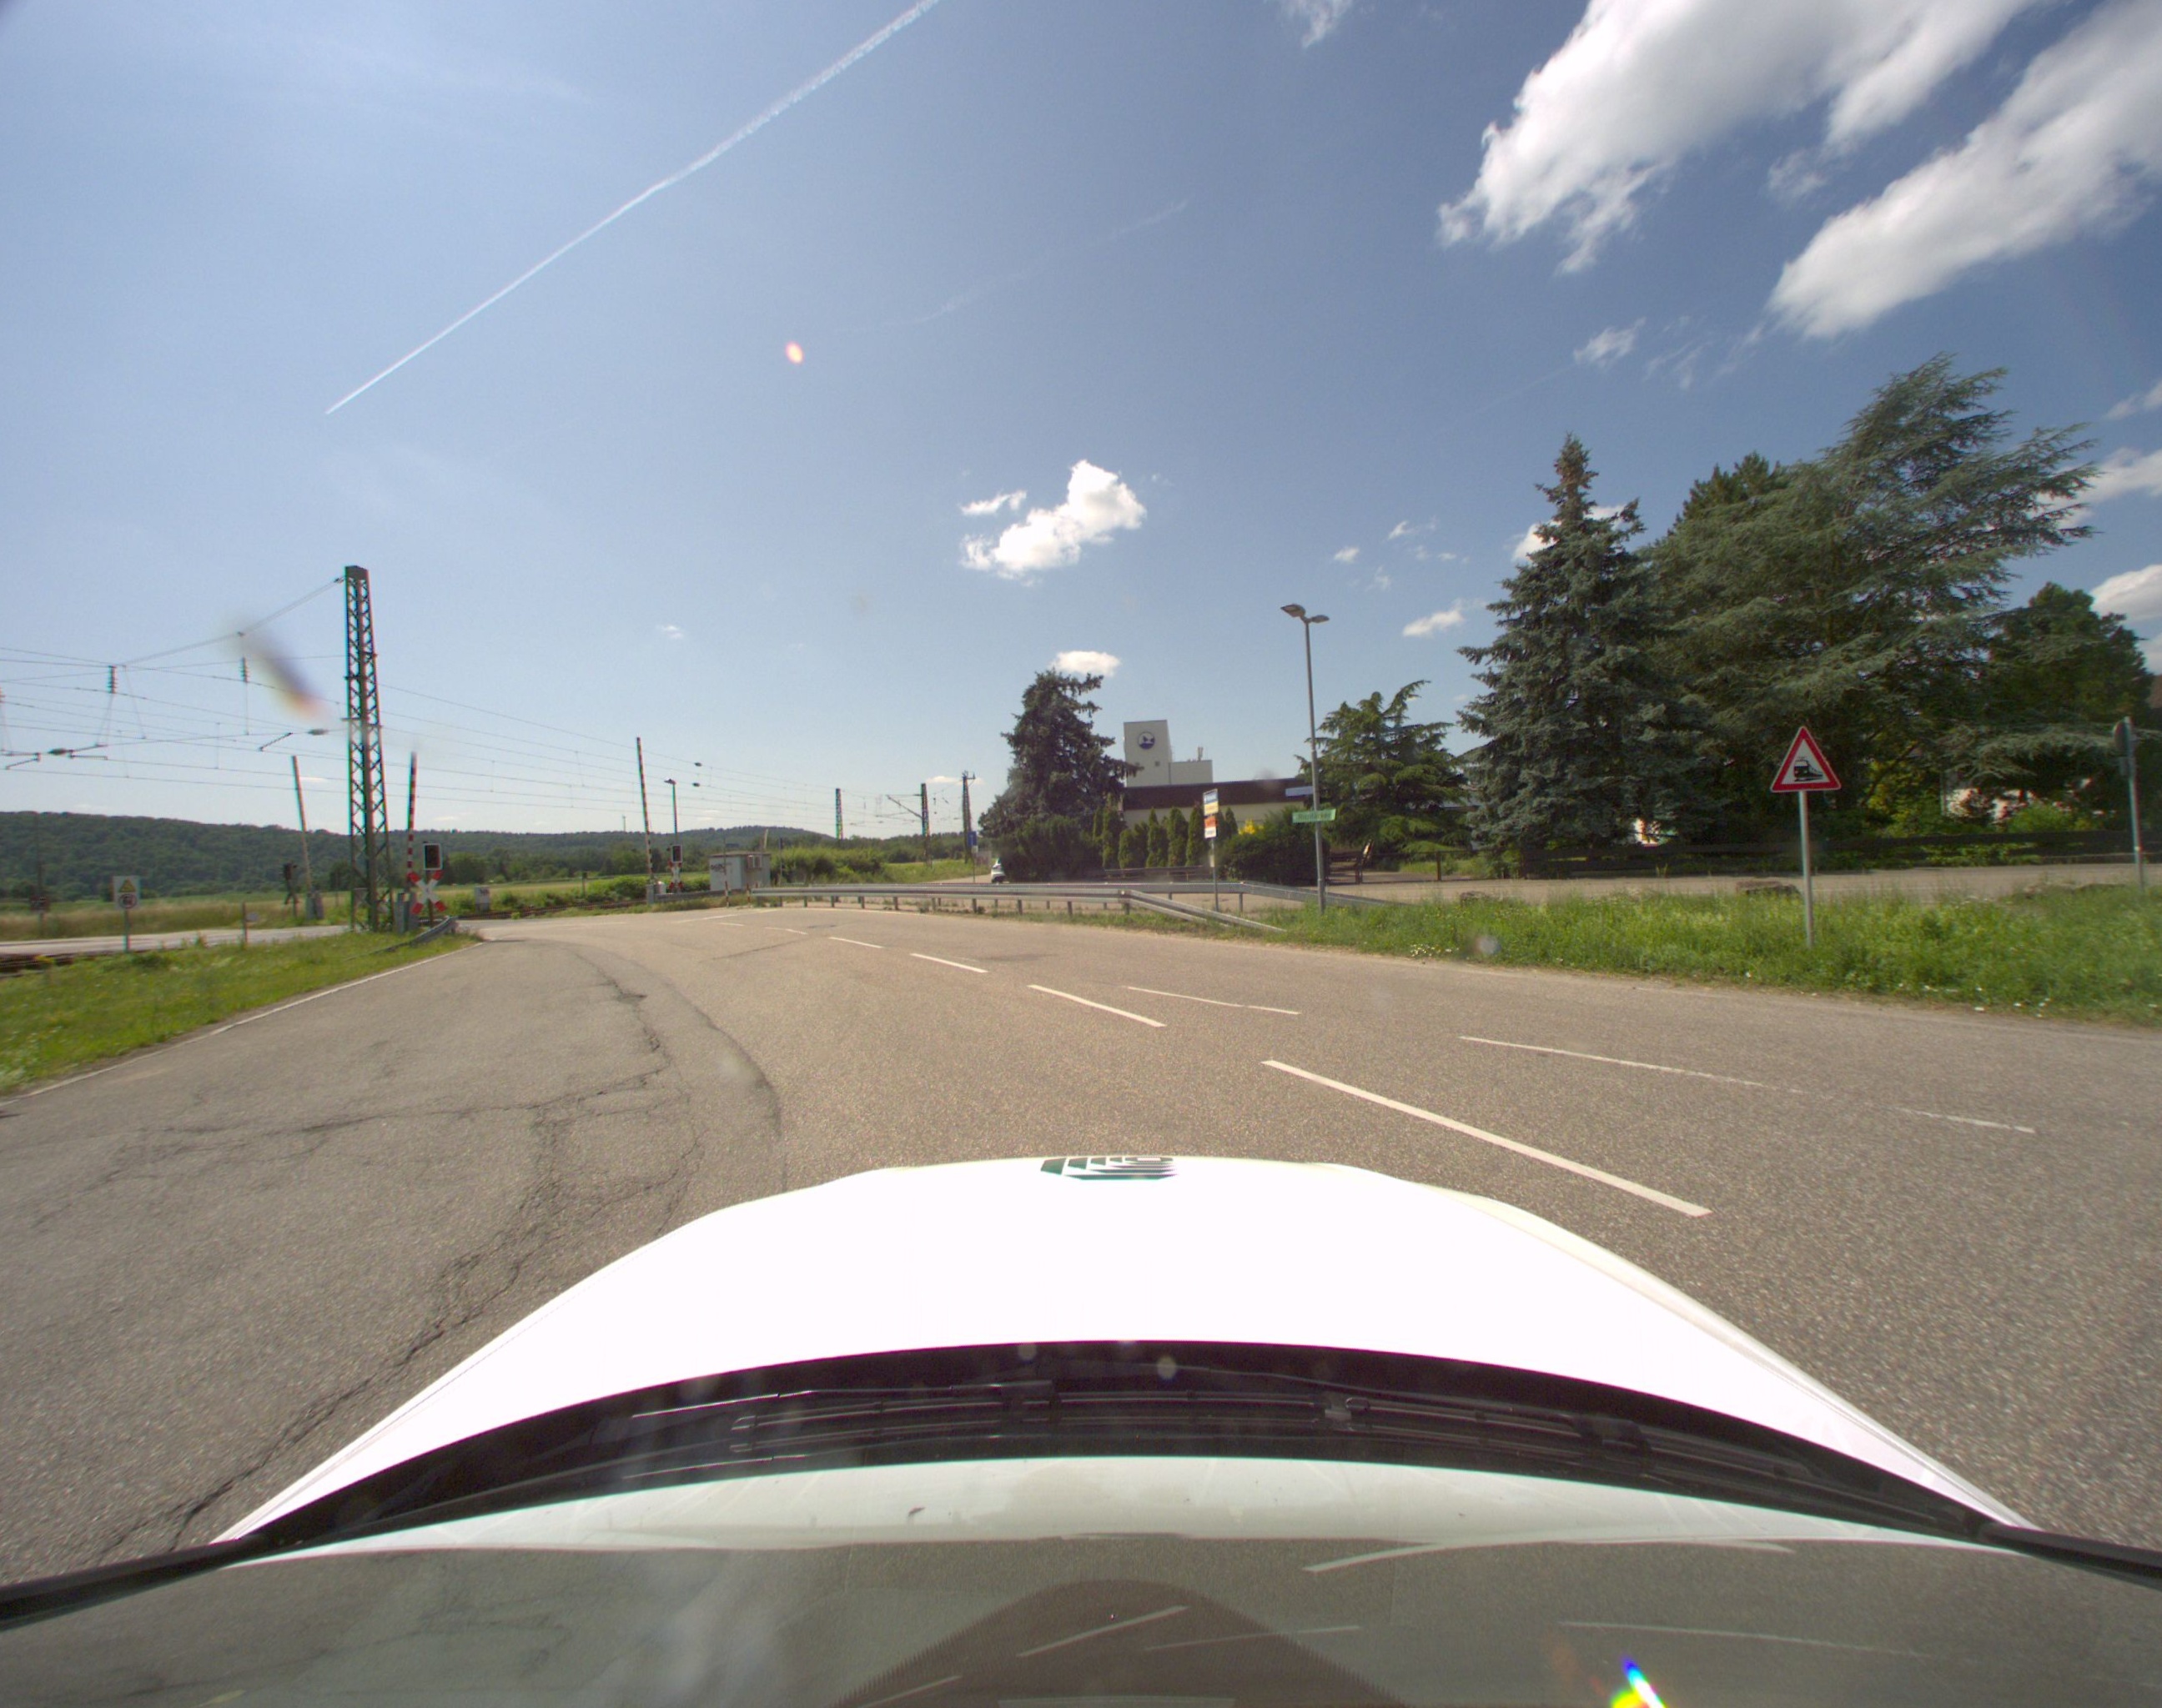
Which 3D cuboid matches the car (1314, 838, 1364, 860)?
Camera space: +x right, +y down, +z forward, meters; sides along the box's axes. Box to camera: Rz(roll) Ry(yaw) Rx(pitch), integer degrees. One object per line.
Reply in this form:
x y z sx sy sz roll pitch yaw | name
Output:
20.919 -0.381 66.119 3.508 1.585 1.567 -3 0 4 | car

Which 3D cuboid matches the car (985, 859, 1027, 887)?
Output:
-4.643 1.135 50.798 1.986 1.509 4.456 -3 0 2 | car
